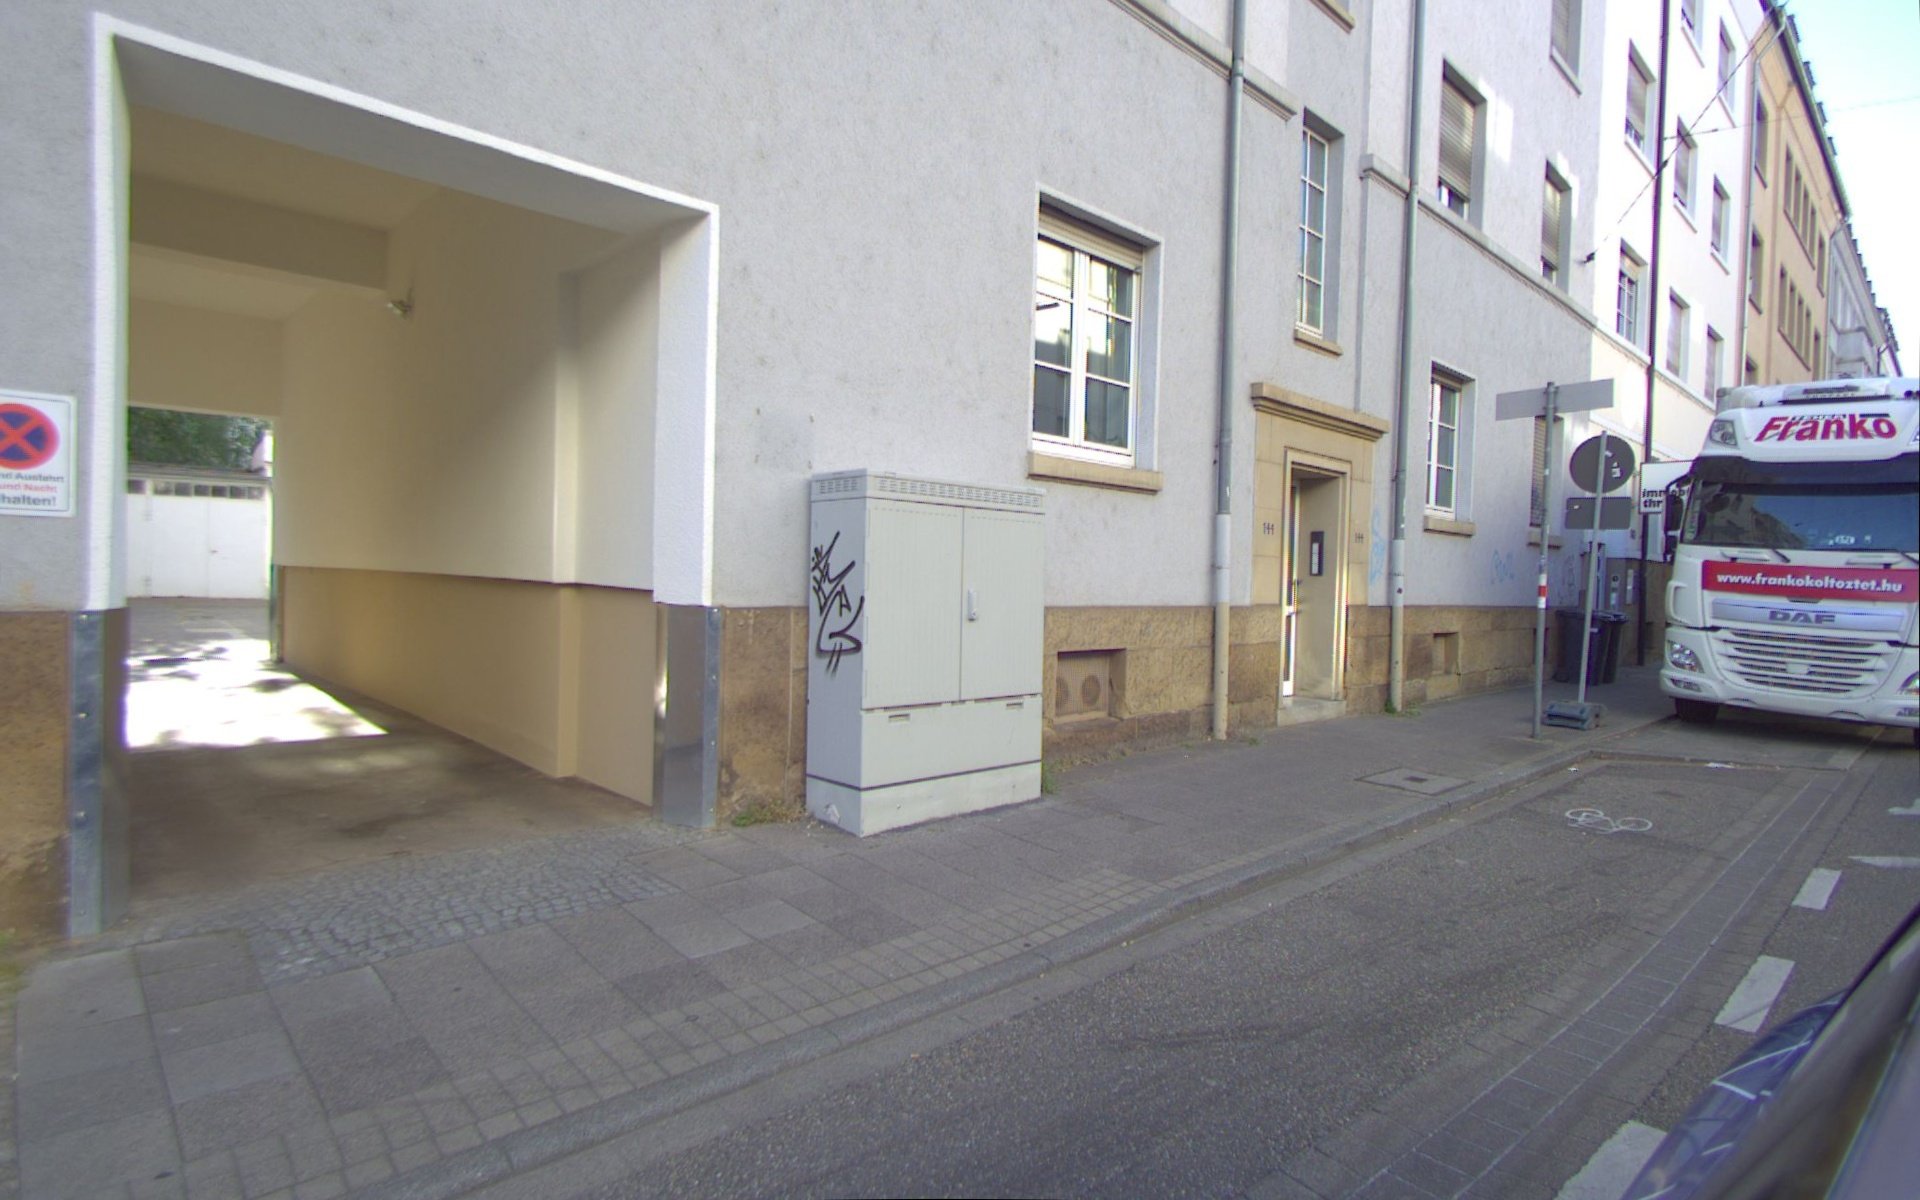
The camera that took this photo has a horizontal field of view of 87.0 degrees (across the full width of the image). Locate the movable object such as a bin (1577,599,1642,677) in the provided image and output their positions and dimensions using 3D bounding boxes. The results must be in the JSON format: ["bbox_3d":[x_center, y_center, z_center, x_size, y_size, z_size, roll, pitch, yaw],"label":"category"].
[{"bbox_3d":[9.660,0.546,15.048,0.560,1.107,0.665,0,2,-43],"label":"movable object such as a bin"}]

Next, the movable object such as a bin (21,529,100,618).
[{"bbox_3d":[-15.144,-0.451,17.028,0.946,1.426,1.597,0,2,-43],"label":"movable object such as a bin"}]

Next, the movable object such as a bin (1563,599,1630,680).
[{"bbox_3d":[9.181,0.554,14.597,0.560,1.107,0.665,0,2,-43],"label":"movable object such as a bin"}]

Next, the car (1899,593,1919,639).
[{"bbox_3d":[33.515,0.534,34.741,4.080,1.551,1.681,0,0,-44],"label":"car"}]

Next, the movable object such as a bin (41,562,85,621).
[{"bbox_3d":[-14.367,-0.144,16.209,0.518,0.922,0.580,0,2,-43],"label":"movable object such as a bin"}]

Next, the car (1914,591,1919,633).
[{"bbox_3d":[37.686,0.466,38.638,4.080,1.551,1.681,0,0,-44],"label":"car"}]

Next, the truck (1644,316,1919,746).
[{"bbox_3d":[12.585,-0.676,13.889,11.621,3.975,2.778,0,2,-44],"label":"truck"}]
